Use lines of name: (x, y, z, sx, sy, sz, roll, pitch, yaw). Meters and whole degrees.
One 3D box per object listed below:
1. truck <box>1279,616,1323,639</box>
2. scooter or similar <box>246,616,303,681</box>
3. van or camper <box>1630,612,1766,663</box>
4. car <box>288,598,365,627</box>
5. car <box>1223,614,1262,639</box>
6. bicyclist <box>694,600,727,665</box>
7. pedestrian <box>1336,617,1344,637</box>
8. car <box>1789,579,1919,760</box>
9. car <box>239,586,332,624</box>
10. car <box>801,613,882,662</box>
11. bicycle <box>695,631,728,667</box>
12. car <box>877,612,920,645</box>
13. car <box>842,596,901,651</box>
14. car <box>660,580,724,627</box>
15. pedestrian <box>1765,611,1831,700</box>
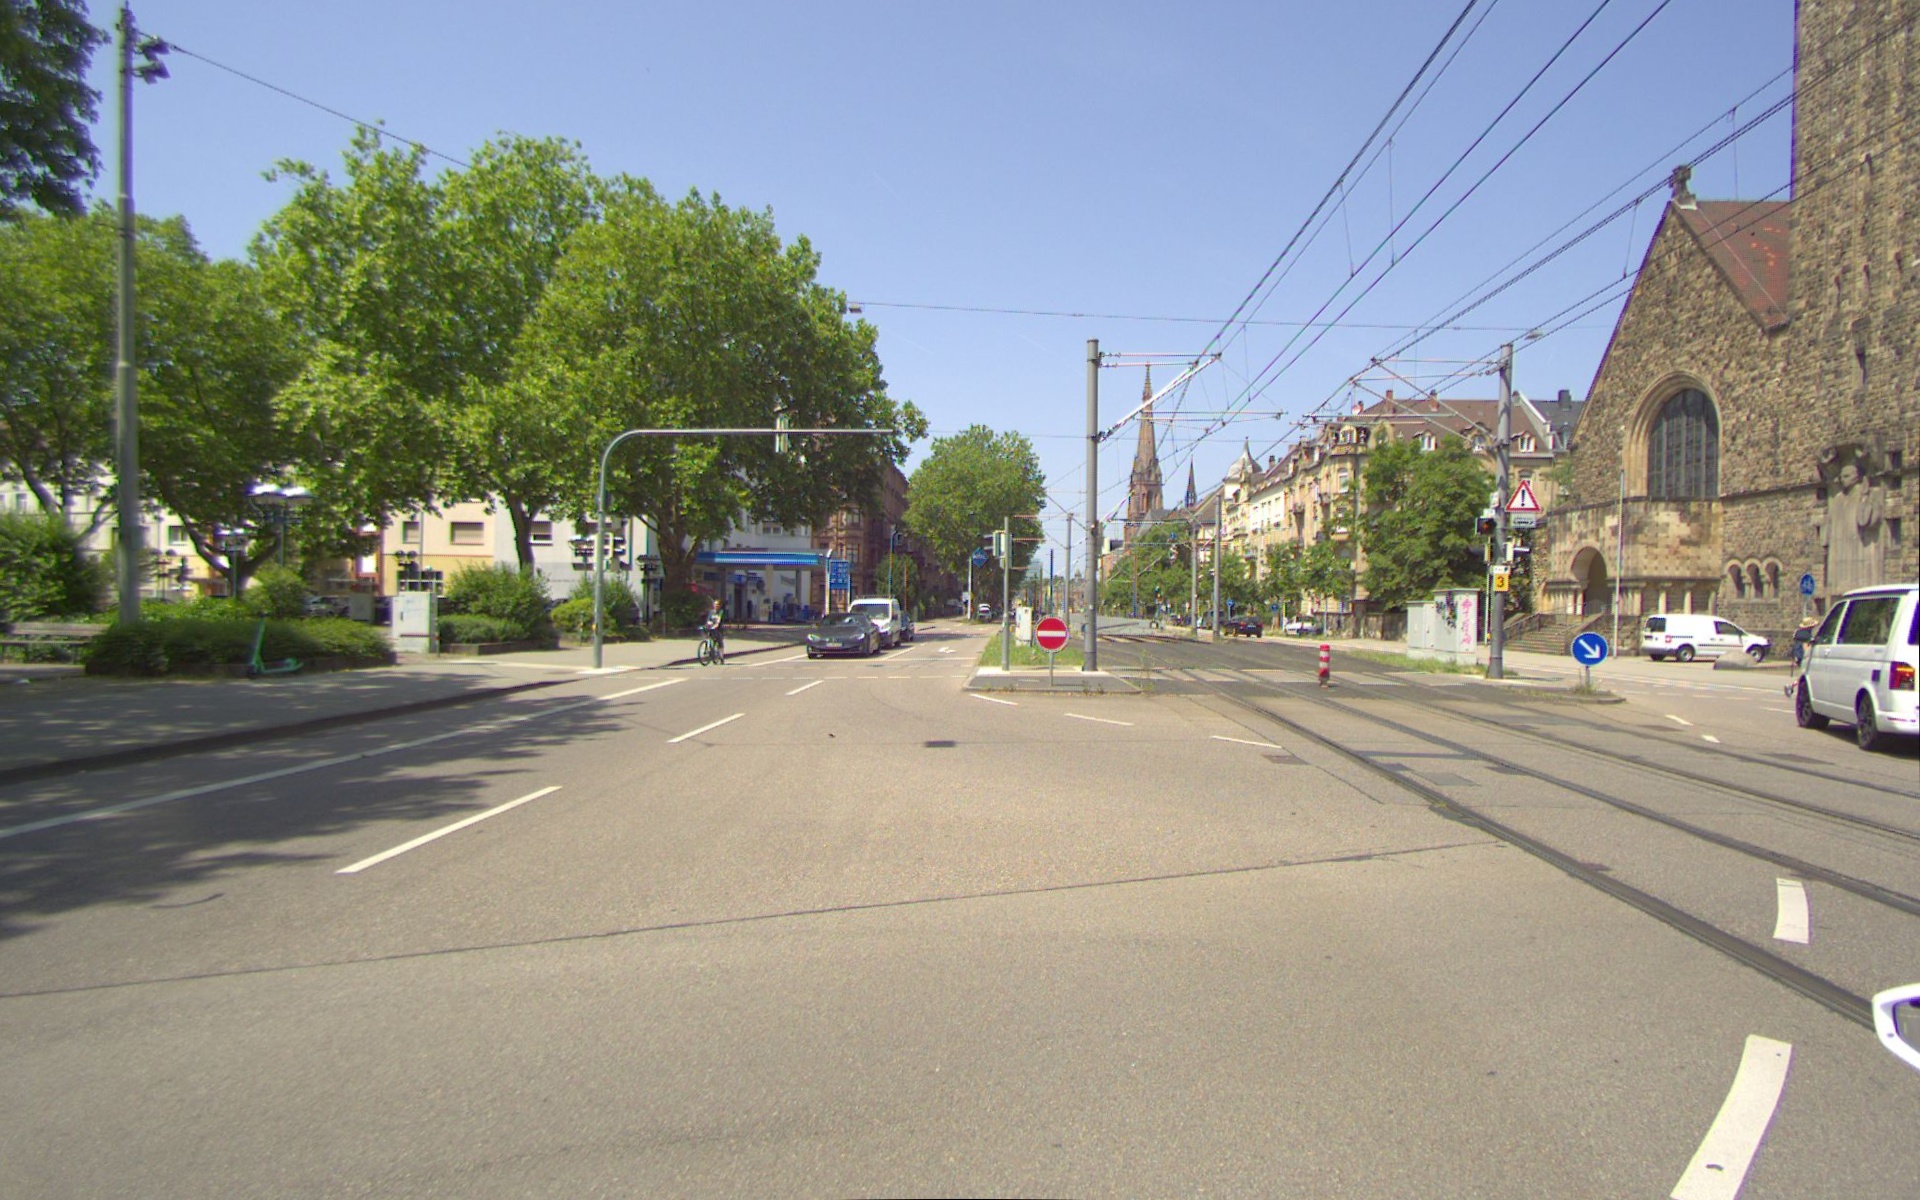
truck: (24.384, 1.940, 71.940, 1.759, 1.546, 4.466, 1, 0, 2)
scooter or similar: (-12.314, 0.862, 18.052, 0.252, 1.135, 0.861, 2, 0, 15)
van or camper: (29.212, 1.467, 39.857, 3.921, 1.831, 2.000, 2, 0, 0)
car: (-35.084, 0.678, 55.738, 1.886, 1.507, 3.849, 1, 0, -2)
car: (19.033, 1.752, 67.764, 1.720, 1.559, 3.760, 2, 0, 3)
bicyclist: (-6.702, 0.870, 27.052, 0.628, 1.708, 0.869, 2, 0, 0)
pedestrian: (26.135, 1.880, 69.146, 0.387, 1.369, 0.408, 1, 0, 1)
car: (12.037, 0.816, 12.527, 1.888, 1.970, 4.256, 1, 0, 30)
car: (-37.824, 0.281, 56.499, 1.886, 2.017, 5.106, 1, 0, -2)
car: (-3.739, 1.163, 32.528, 1.914, 1.377, 4.629, 1, 0, 2)
bicycle: (-6.687, 1.314, 27.125, 0.488, 0.894, 1.483, 2, 0, 0)
car: (-2.799, 1.306, 46.432, 1.569, 1.439, 3.783, -1, -1, 3)
car: (-3.393, 0.874, 39.280, 1.747, 2.017, 4.806, 1, 0, 2)
car: (-14.678, 0.193, 55.345, 1.815, 2.424, 4.984, 1, 0, 5)
pedestrian: (17.965, 1.172, 21.545, 0.729, 1.847, 0.834, 2, 0, 10)
